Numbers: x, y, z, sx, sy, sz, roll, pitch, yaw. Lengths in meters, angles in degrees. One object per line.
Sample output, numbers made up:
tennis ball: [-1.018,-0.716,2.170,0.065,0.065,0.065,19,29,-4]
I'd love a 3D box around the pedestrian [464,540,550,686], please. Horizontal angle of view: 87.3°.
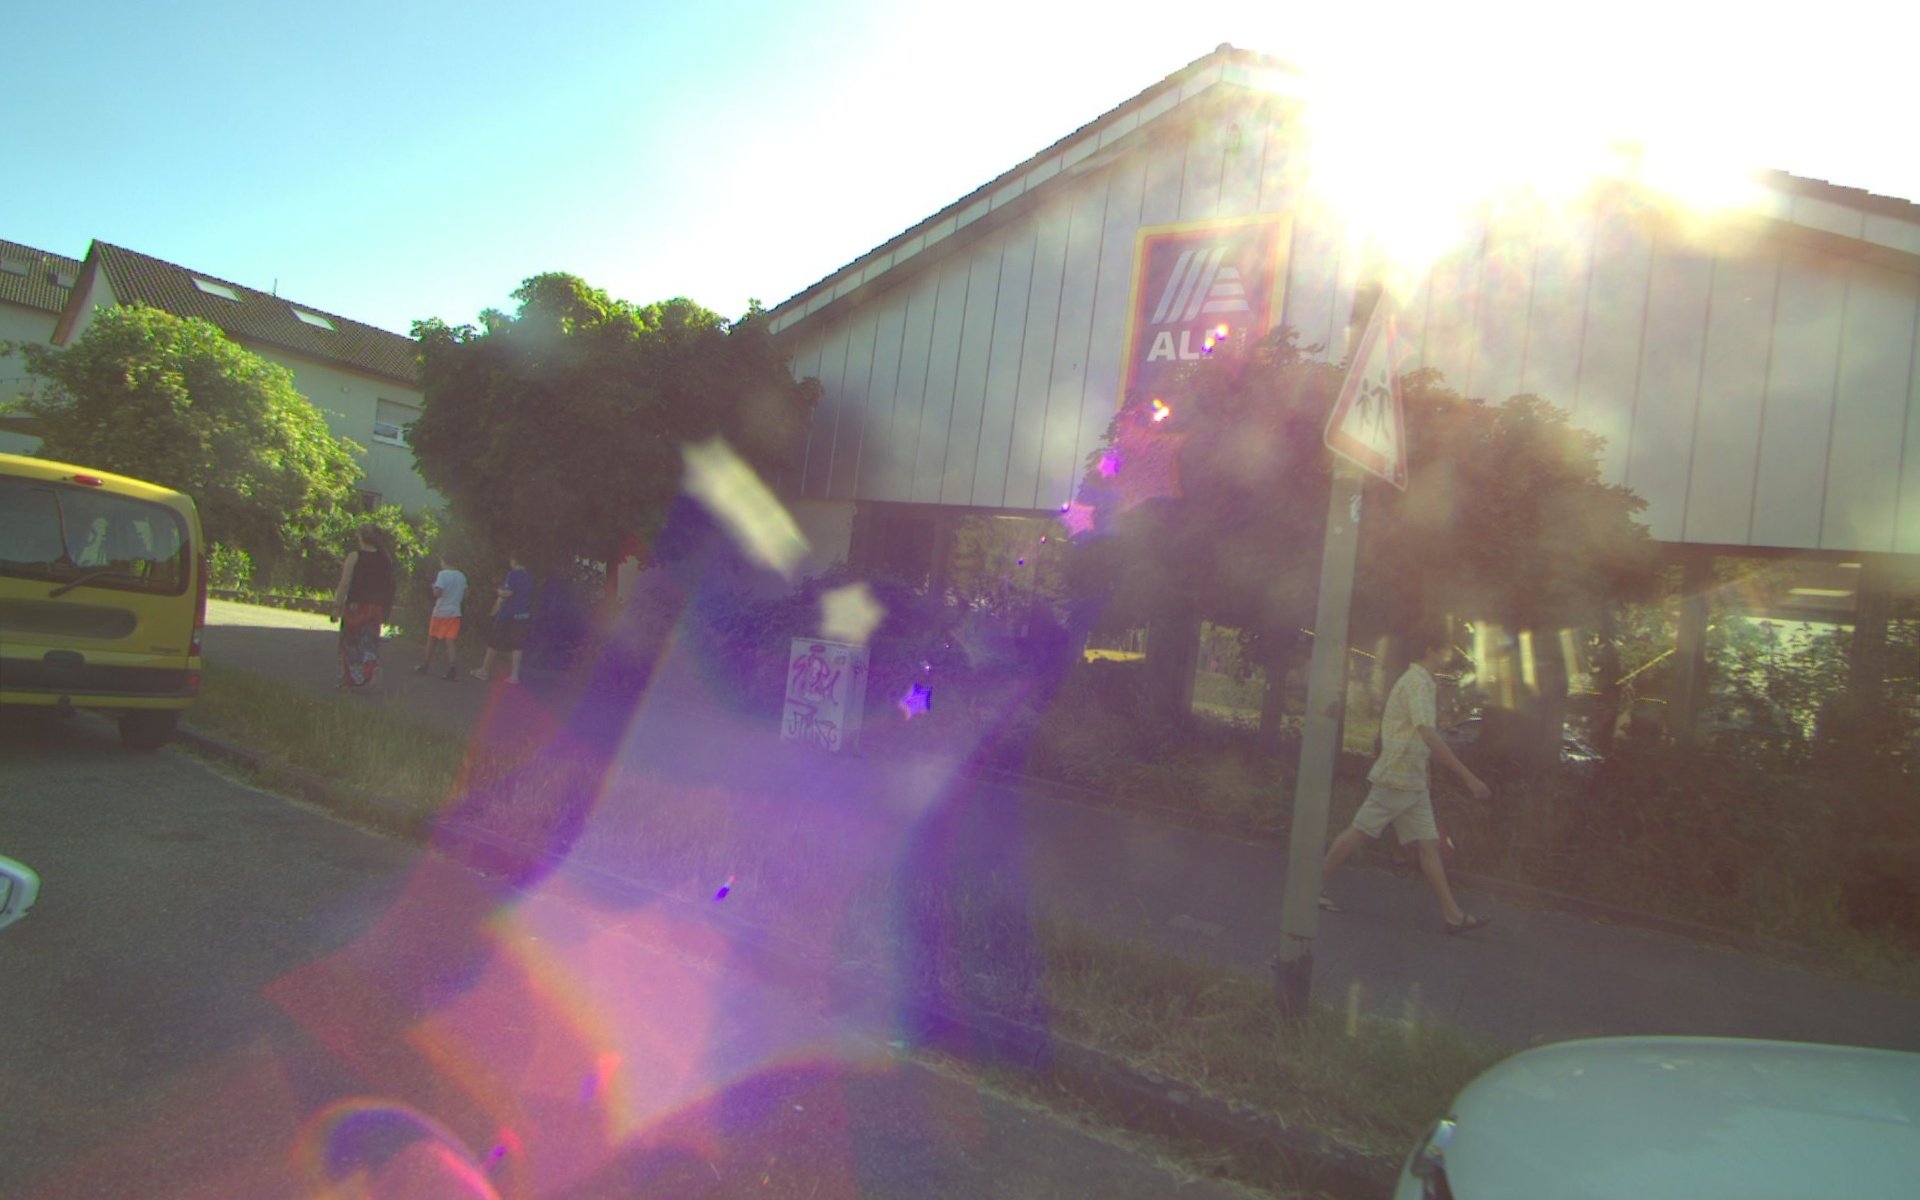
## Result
pedestrian: [-5.441,0.157,12.083,0.538,1.656,0.567,7,-1,37]

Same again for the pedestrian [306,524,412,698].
pedestrian: [-6.034,0.117,10.106,0.538,1.656,0.567,7,-1,37]

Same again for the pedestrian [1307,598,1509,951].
pedestrian: [2.709,1.007,6.136,0.858,1.882,0.796,7,-1,24]

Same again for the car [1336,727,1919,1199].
car: [2.634,1.193,1.181,3.932,1.468,1.831,6,-2,30]

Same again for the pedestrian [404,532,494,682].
pedestrian: [-5.958,0.089,11.740,0.538,1.656,0.567,7,-1,37]

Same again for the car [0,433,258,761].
car: [-6.932,-0.143,7.069,3.934,1.858,1.728,6,-2,32]
